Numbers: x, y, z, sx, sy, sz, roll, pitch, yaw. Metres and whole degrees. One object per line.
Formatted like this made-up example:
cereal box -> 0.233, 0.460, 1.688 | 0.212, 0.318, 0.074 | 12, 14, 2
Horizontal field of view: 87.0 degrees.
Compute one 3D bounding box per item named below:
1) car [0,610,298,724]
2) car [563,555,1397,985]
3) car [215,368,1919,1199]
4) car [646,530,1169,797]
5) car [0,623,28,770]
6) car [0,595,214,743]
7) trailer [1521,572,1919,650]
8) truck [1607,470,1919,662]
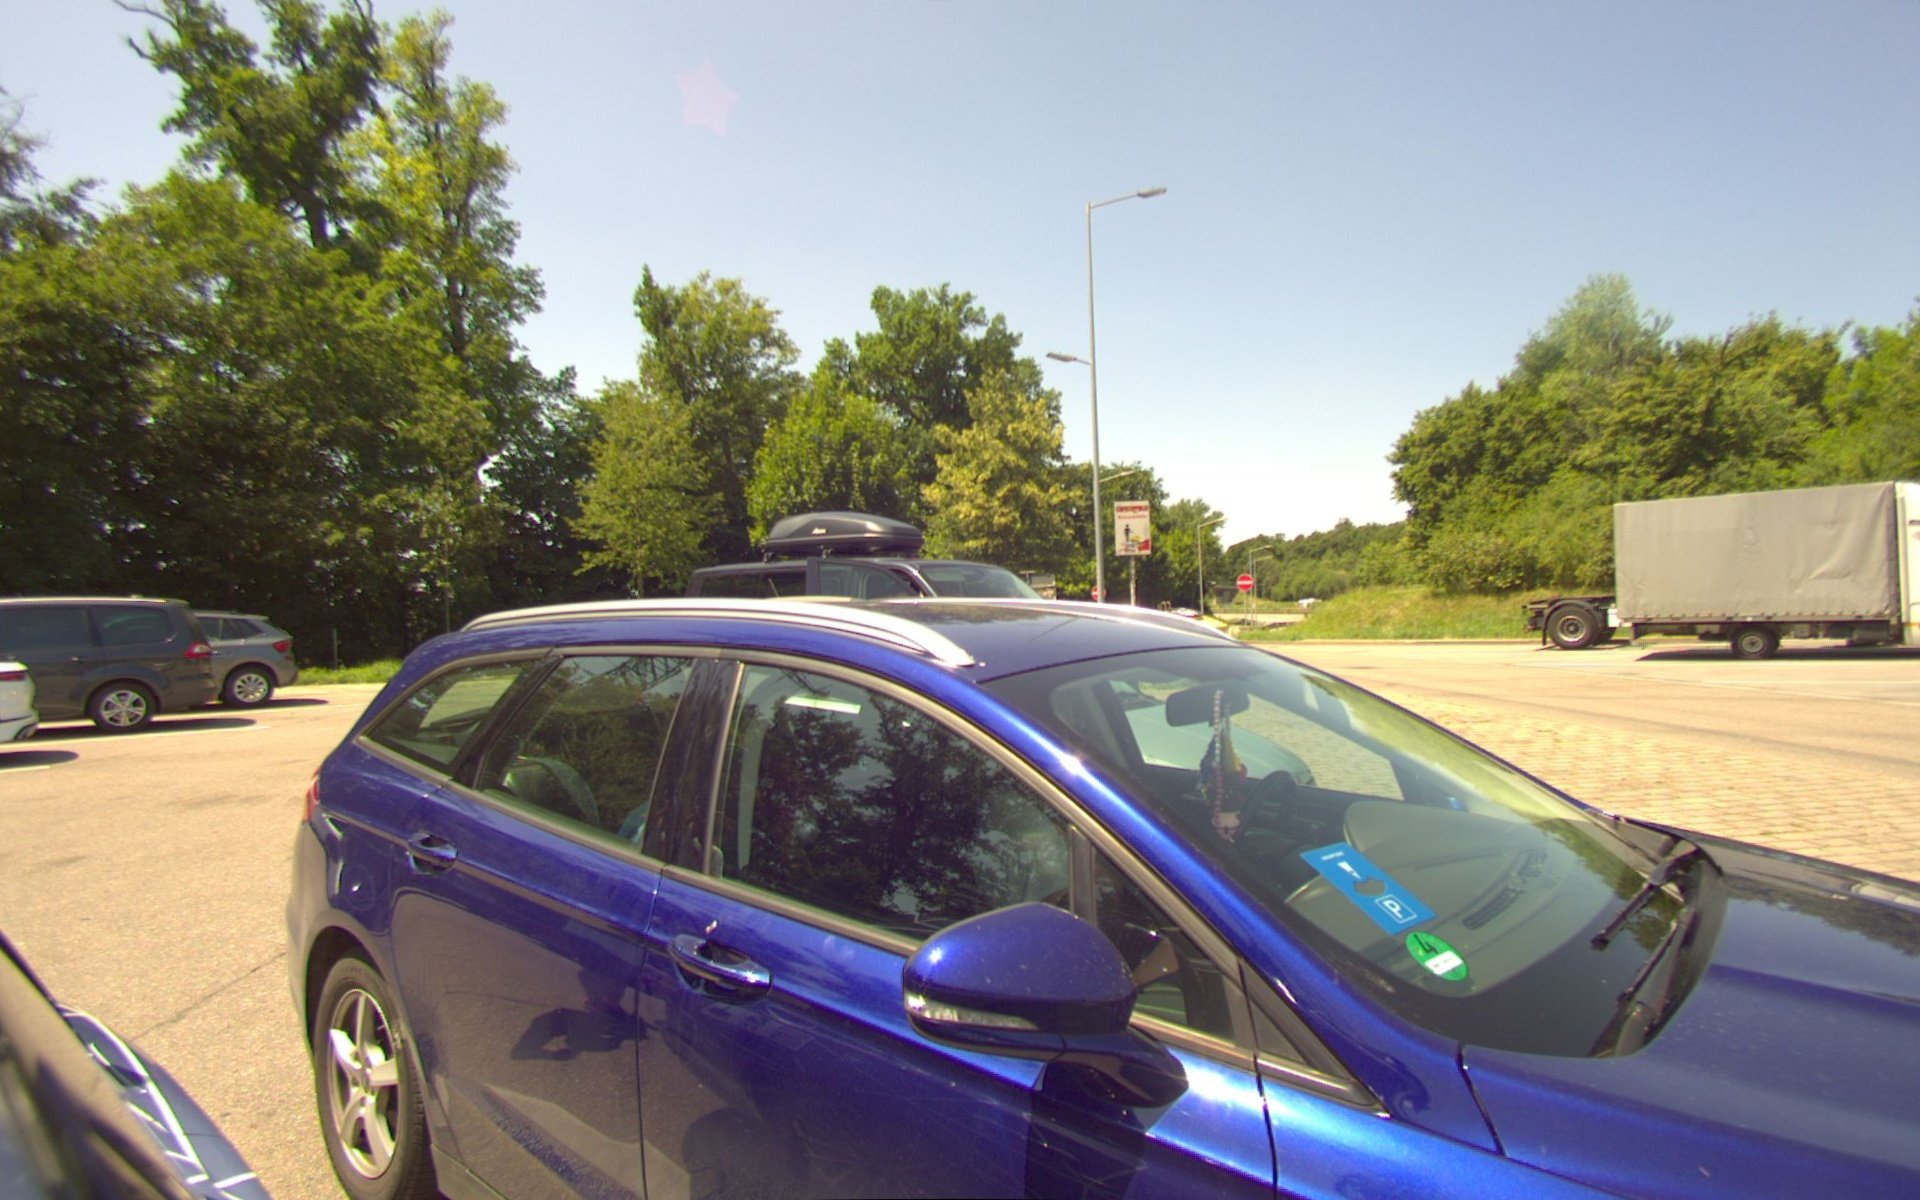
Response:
car -> -12.587, 0.954, 15.688 | 3.762, 1.551, 1.724 | 0, -1, -38
car -> -0.208, 0.669, 5.771 | 4.637, 1.545, 1.720 | -2, 0, 39
car -> 0.254, 0.632, 2.059 | 4.637, 1.493, 1.720 | -2, -1, 39
car -> -0.652, 0.507, 9.345 | 4.635, 1.884, 1.937 | -2, 0, 37
car -> -10.989, 0.932, 9.143 | 3.767, 1.396, 1.722 | 0, -1, -44
car -> -11.648, 0.821, 12.607 | 3.762, 1.737, 1.724 | 0, -1, -38
trailer -> 17.641, 0.301, 23.142 | 8.088, 1.385, 2.200 | -4, -1, 41
truck -> 16.713, -0.610, 18.920 | 7.337, 3.235, 2.502 | -4, -1, 41
